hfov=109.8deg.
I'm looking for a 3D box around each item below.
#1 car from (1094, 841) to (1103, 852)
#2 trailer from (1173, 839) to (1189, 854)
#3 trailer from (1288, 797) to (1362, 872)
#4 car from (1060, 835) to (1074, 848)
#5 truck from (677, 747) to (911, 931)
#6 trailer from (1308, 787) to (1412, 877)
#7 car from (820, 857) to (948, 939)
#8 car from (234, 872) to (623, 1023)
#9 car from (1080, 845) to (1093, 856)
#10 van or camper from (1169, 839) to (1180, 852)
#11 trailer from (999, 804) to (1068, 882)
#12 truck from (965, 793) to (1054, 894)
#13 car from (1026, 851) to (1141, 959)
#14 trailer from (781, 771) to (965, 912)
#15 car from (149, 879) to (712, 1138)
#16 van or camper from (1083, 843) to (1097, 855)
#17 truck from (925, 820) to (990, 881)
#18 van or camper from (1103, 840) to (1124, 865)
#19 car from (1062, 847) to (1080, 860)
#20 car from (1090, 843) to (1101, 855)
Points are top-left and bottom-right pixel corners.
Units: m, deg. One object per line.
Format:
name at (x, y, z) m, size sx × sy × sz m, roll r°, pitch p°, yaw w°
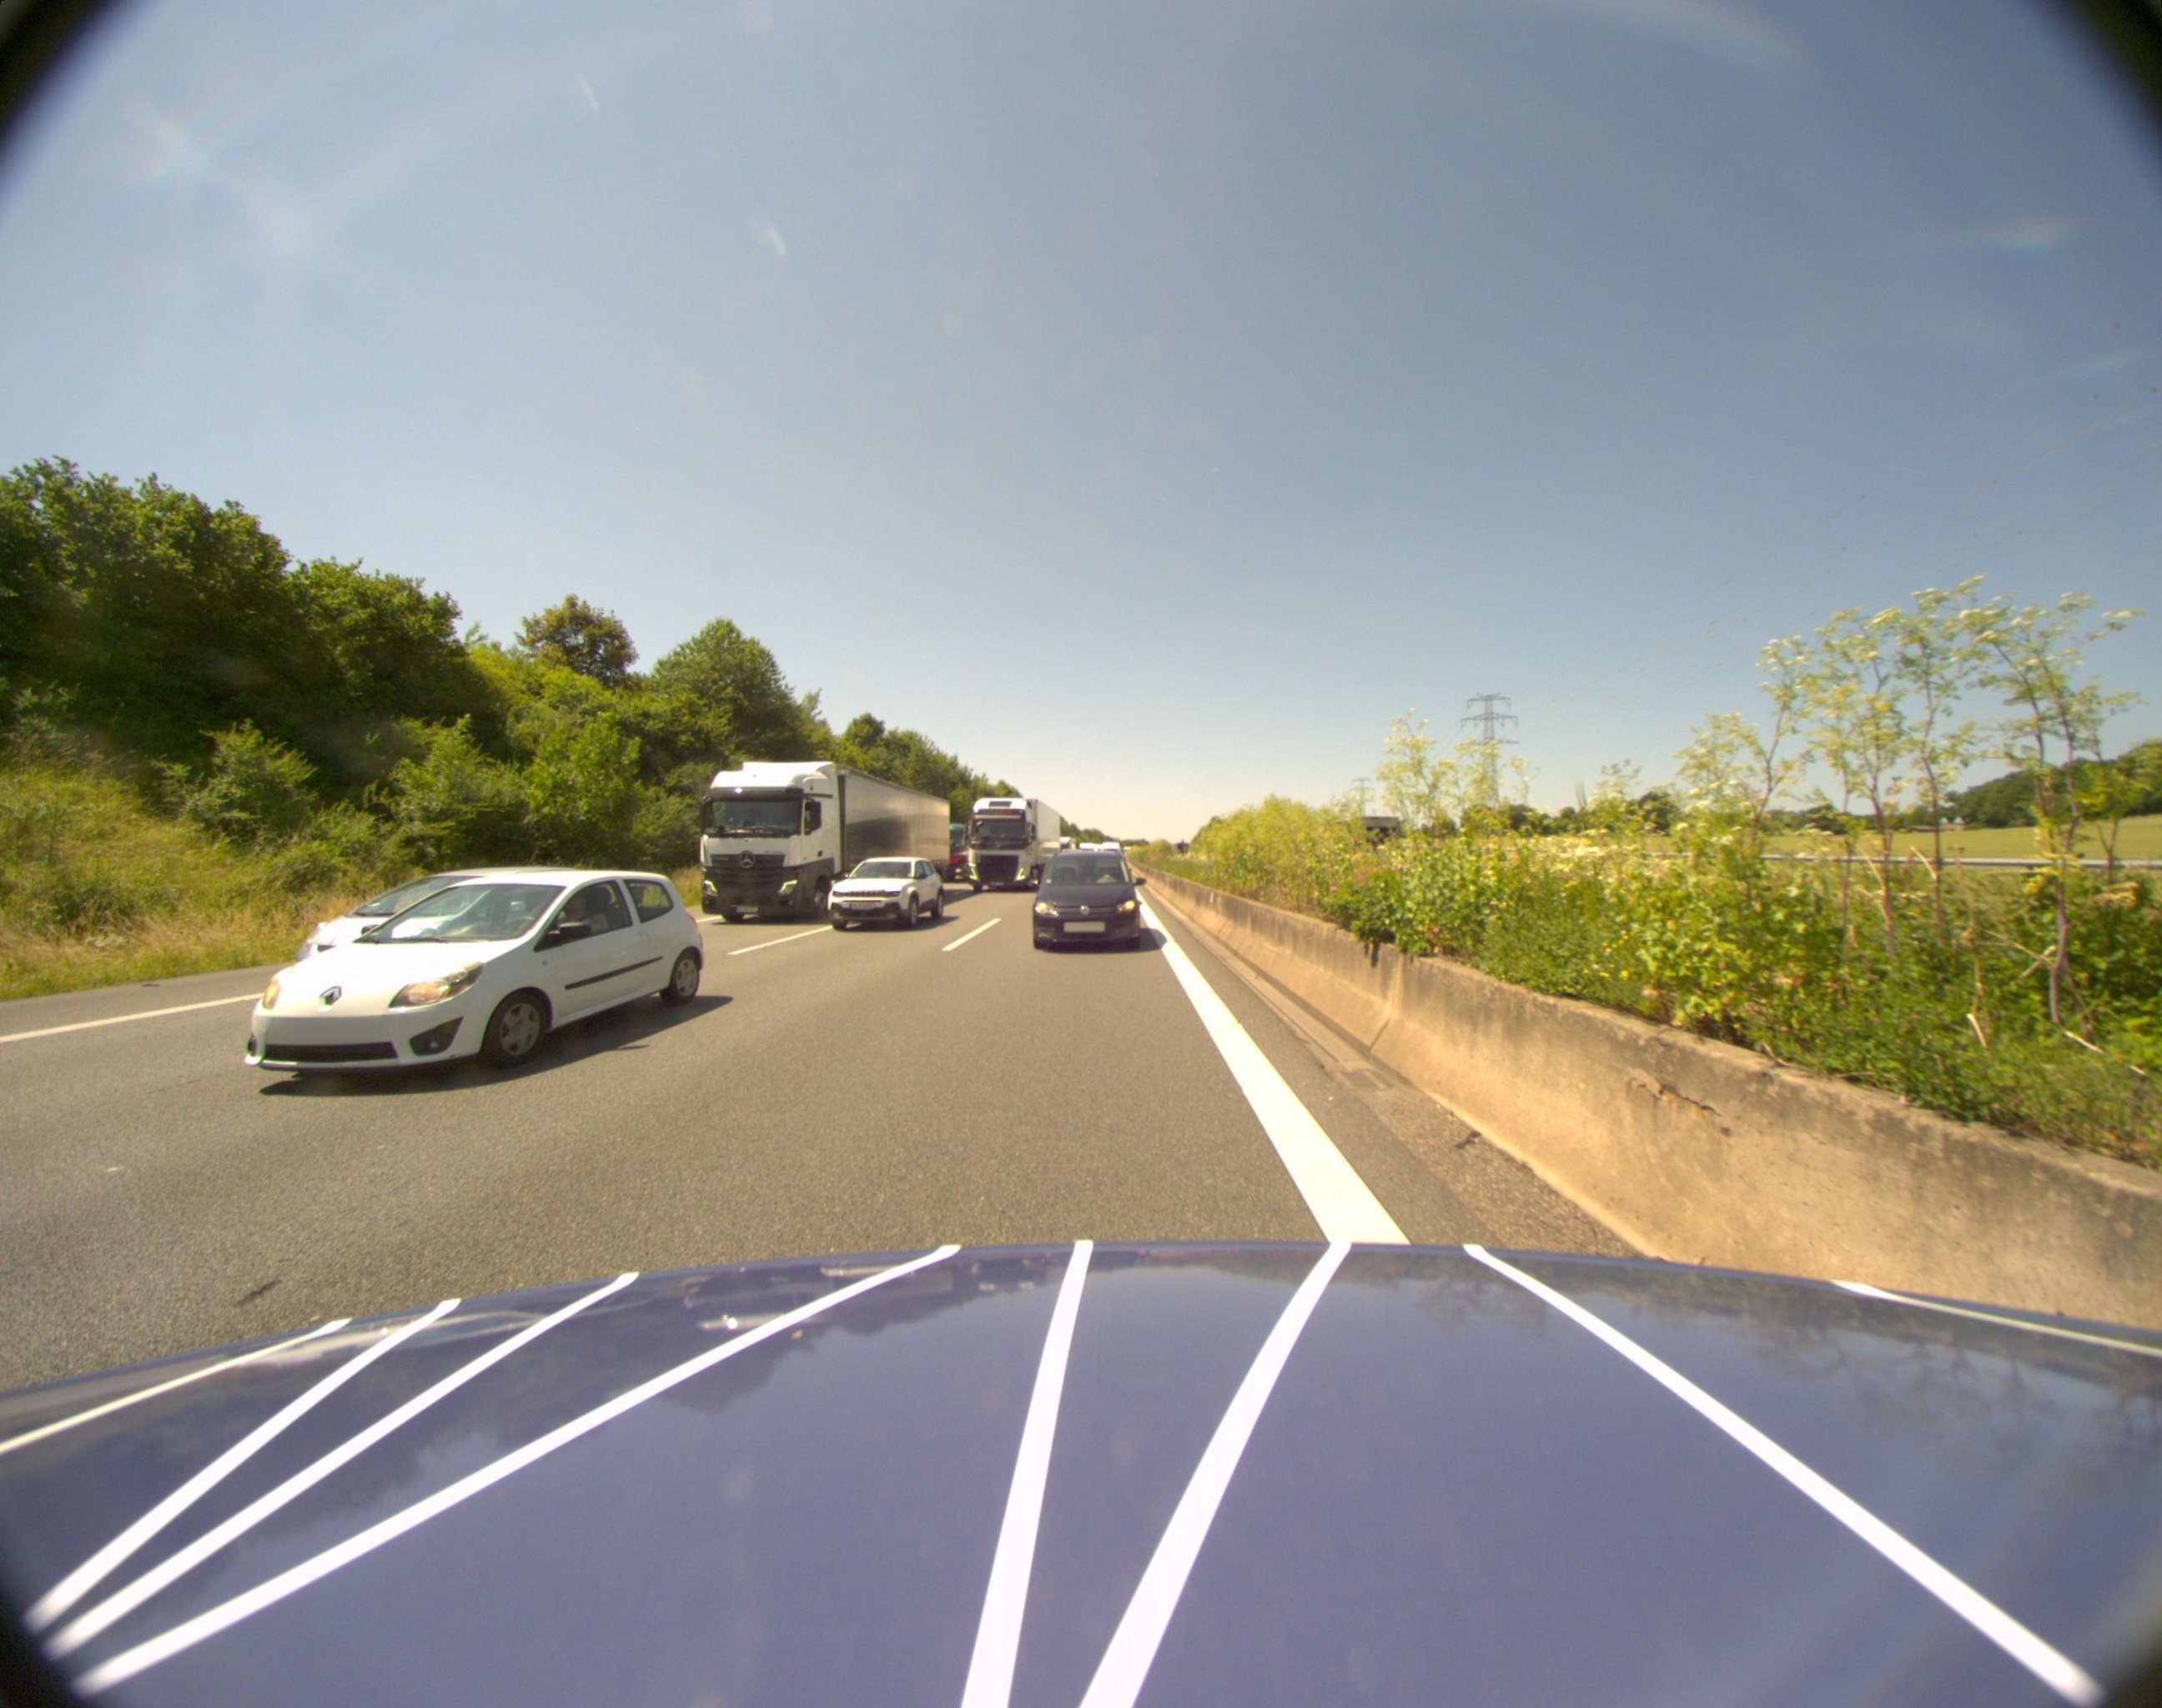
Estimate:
car at (3.932, -1.704, 168.629) m, size 1.998 × 2.302 × 4.229 m, roll -1°, pitch 1°, yaw 3°
trailer at (24.814, -1.897, 188.453) m, size 3.190 × 3.740 × 8.201 m, roll 0°, pitch 0°, yaw 2°
trailer at (17.421, -1.375, 54.766) m, size 3.330 × 5.018 × 6.703 m, roll -1°, pitch 1°, yaw 2°
car at (-2.243, -2.005, 124.658) m, size 1.998 × 2.002 × 4.000 m, roll -1°, pitch 1°, yaw 2°
truck at (-7.462, -0.392, 21.444) m, size 2.879 × 4.133 × 8.476 m, roll -1°, pitch 1°, yaw 3°
trailer at (17.161, -1.311, 47.687) m, size 3.330 × 5.018 × 9.591 m, roll -1°, pitch 1°, yaw 2°
car at (-4.345, 0.894, 17.365) m, size 1.748 × 1.549 × 3.884 m, roll 1°, pitch 1°, yaw 3°
car at (-8.098, 1.033, 10.010) m, size 1.666 × 1.453 × 3.922 m, roll 1°, pitch 1°, yaw 2°
car at (0.880, -0.557, 117.572) m, size 1.652 × 1.636 × 4.000 m, roll -1°, pitch 1°, yaw 3°
van or camper at (21.095, -1.865, 170.968) m, size 2.053 × 2.843 × 4.649 m, roll 0°, pitch 1°, yaw 2°
trailer at (-2.502, -0.608, 43.181) m, size 2.776 × 3.951 × 9.157 m, roll -1°, pitch 1°, yaw 3°
truck at (-3.003, -0.477, 34.521) m, size 2.750 × 3.972 × 8.361 m, roll -1°, pitch 1°, yaw 3°
car at (0.156, 0.770, 14.249) m, size 1.758 × 1.571 × 5.291 m, roll 0°, pitch 1°, yaw 3°
trailer at (-7.078, -0.440, 28.504) m, size 2.879 × 4.133 × 12.076 m, roll -1°, pitch 1°, yaw 3°
car at (-5.050, 1.040, 6.721) m, size 1.609 × 1.426 × 3.809 m, roll 1°, pitch 1°, yaw 2°
van or camper at (1.582, -0.962, 132.153) m, size 2.189 × 2.018 × 4.364 m, roll -1°, pitch 1°, yaw 3°
truck at (-6.713, -0.228, 41.968) m, size 2.299 × 3.128 × 5.675 m, roll -1°, pitch 1°, yaw 3°
van or camper at (3.214, -0.204, 75.191) m, size 1.956 × 2.368 × 4.037 m, roll -2°, pitch 1°, yaw 3°
car at (-1.046, -0.050, 81.919) m, size 1.650 × 1.336 × 3.381 m, roll -1°, pitch 1°, yaw 3°
car at (2.849, -0.978, 148.421) m, size 1.998 × 2.302 × 4.229 m, roll -1°, pitch 1°, yaw 1°
